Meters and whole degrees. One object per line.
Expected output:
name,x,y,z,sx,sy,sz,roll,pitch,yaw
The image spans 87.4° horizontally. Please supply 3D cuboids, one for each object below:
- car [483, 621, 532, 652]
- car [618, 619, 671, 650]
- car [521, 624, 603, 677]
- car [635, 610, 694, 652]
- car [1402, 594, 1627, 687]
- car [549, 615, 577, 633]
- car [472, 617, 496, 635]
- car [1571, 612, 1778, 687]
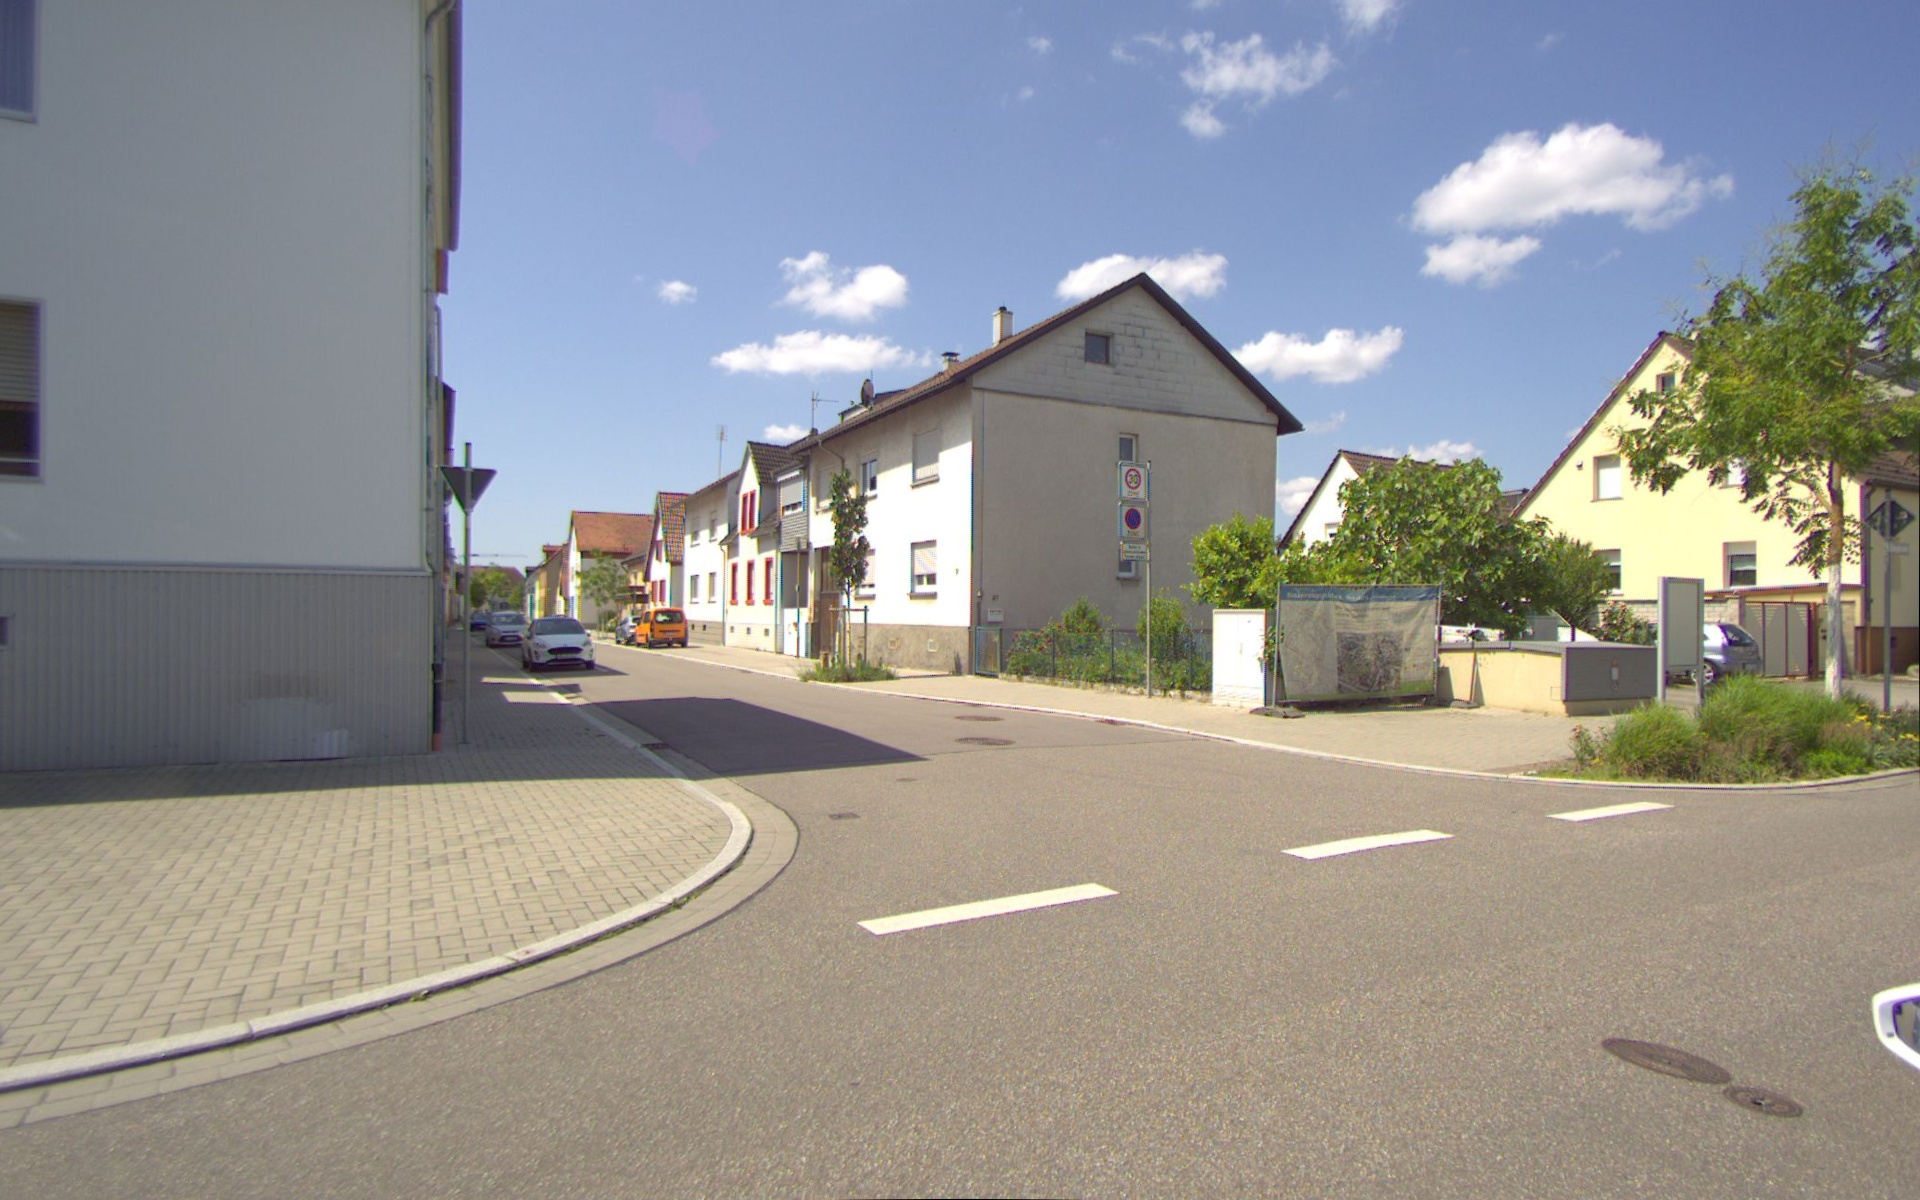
car,-21.390,1.692,47.406,1.867,1.320,3.972,-1,0,-27
car,-15.904,1.684,50.514,1.867,1.384,3.972,-2,1,-27
car,-11.694,1.427,29.390,1.867,1.320,3.972,-1,0,-27
car,-13.578,1.395,46.068,1.867,1.752,3.972,-2,1,-27
car,12.247,0.809,22.463,1.975,1.824,3.971,1,1,-27
car,-33.821,2.057,85.559,1.867,1.384,3.972,-2,1,-27
car,-39.022,2.133,82.229,1.639,1.320,4.122,-1,0,-27
car,16.520,1.085,23.396,1.767,1.490,3.515,1,1,-24
